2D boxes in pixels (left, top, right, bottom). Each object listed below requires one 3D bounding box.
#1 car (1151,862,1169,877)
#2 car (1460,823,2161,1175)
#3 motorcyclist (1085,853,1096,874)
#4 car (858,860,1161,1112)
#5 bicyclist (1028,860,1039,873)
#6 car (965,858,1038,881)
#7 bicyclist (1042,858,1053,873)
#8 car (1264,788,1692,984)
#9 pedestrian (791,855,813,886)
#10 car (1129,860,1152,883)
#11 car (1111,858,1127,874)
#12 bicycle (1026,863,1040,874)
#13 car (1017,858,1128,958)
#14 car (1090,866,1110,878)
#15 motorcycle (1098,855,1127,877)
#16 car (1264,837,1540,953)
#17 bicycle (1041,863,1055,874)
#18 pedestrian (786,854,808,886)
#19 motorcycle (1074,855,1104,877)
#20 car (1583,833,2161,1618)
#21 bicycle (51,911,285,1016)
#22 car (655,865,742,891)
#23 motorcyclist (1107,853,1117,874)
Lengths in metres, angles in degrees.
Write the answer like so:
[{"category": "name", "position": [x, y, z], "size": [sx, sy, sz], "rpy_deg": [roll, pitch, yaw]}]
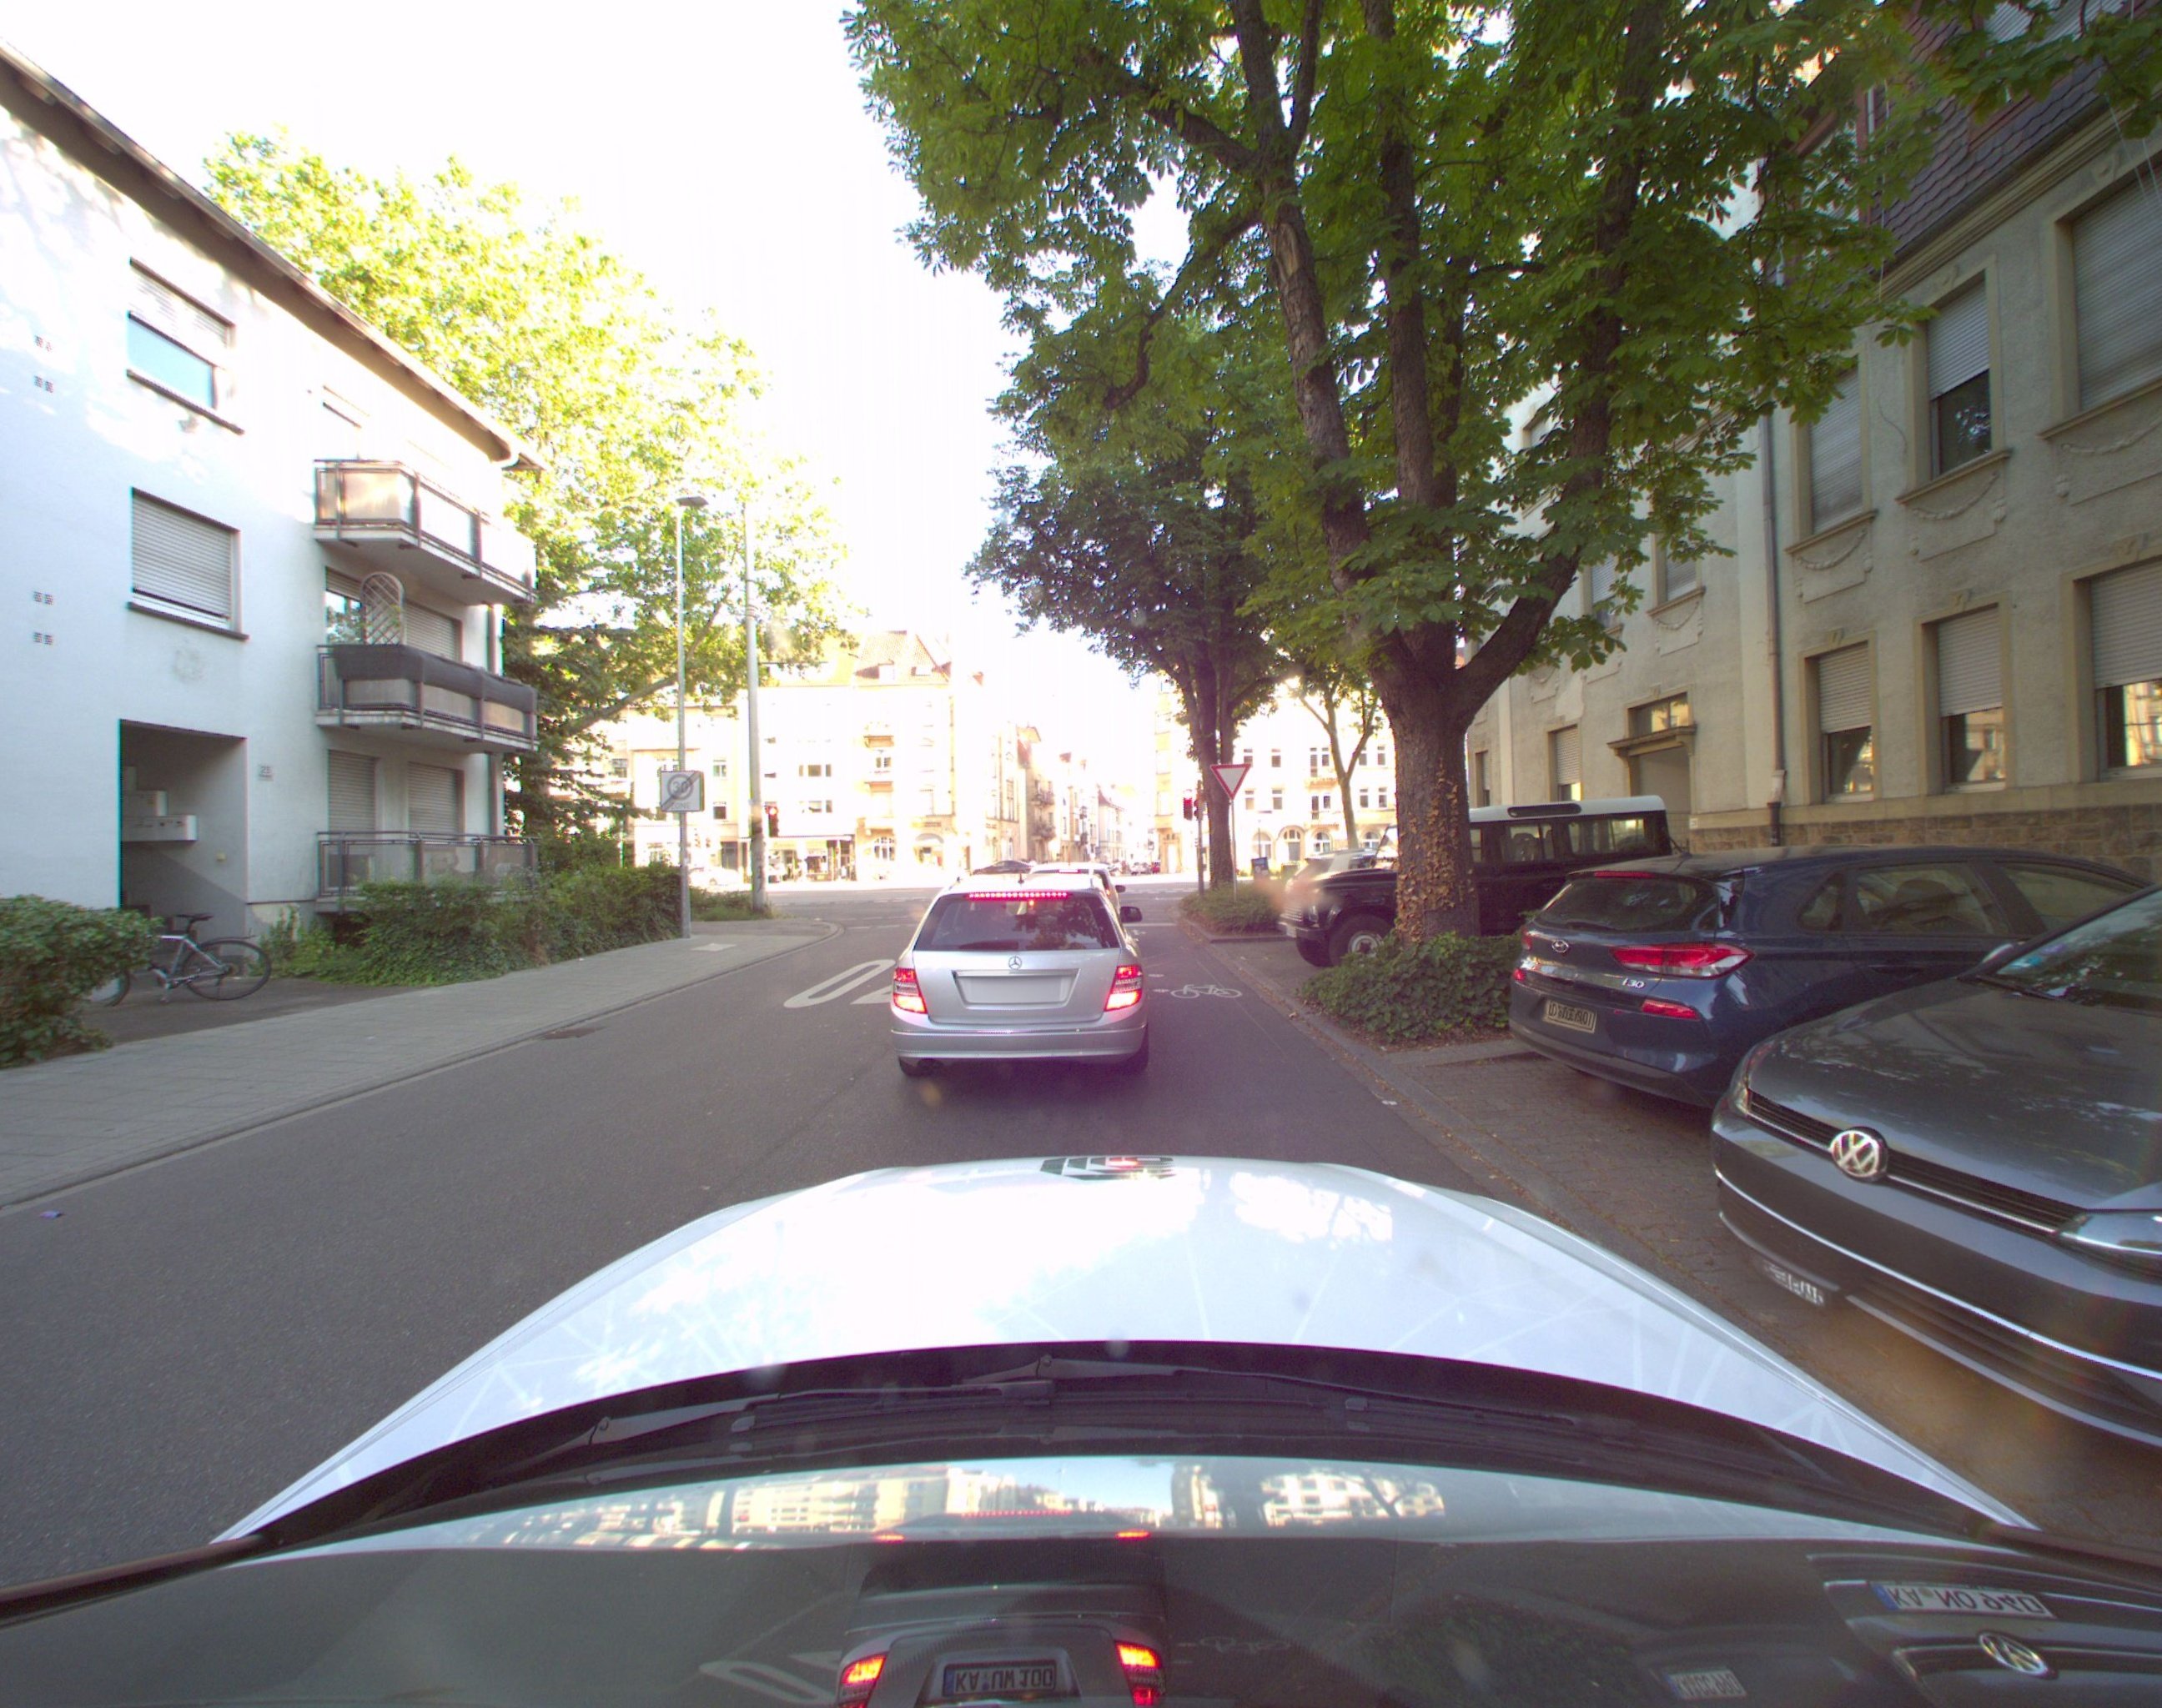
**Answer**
[{"category": "car", "position": [9.868, 1.913, 101.862], "size": [1.824, 1.744, 4.012], "rpy_deg": [-1, 0, 10]}, {"category": "car", "position": [4.389, 0.630, 4.559], "size": [3.714, 1.452, 1.707], "rpy_deg": [-3, -1, -2]}, {"category": "motorcyclist", "position": [0.641, 0.667, 56.423], "size": [0.679, 1.452, 0.568], "rpy_deg": [-2, 0, -2]}, {"category": "car", "position": [-0.411, 0.793, 7.087], "size": [1.771, 1.452, 4.547], "rpy_deg": [-1, 0, 0]}, {"category": "bicyclist", "position": [-4.315, 1.118, 73.729], "size": [0.765, 1.156, 0.755], "rpy_deg": [-1, 0, 13]}, {"category": "car", "position": [-5.496, 1.039, 56.834], "size": [4.871, 1.452, 1.857], "rpy_deg": [-1, 0, -2]}, {"category": "bicyclist", "position": [-3.015, 1.029, 73.709], "size": [0.765, 1.290, 0.755], "rpy_deg": [-1, 0, 13]}, {"category": "car", "position": [4.733, 0.364, 10.133], "size": [4.453, 2.036, 1.700], "rpy_deg": [-3, -1, -2]}, {"category": "pedestrian", "position": [-22.406, 1.289, 65.437], "size": [1.343, 2.464, 1.059], "rpy_deg": [-1, 0, -3]}, {"category": "car", "position": [6.297, 1.820, 85.905], "size": [2.018, 2.279, 4.012], "rpy_deg": [-1, 0, 10]}, {"category": "car", "position": [5.472, 1.726, 117.403], "size": [1.776, 2.204, 4.012], "rpy_deg": [-1, 0, 10]}, {"category": "bicycle", "position": [-4.332, 1.340, 73.650], "size": [0.765, 0.940, 1.947], "rpy_deg": [-1, 0, 13]}, {"category": "car", "position": [-0.116, 0.811, 14.175], "size": [1.614, 1.447, 4.344], "rpy_deg": [-1, 0, 0]}, {"category": "car", "position": [2.387, 2.260, 102.638], "size": [1.824, 1.402, 4.012], "rpy_deg": [-1, 0, 10]}, {"category": "motorcycle", "position": [2.234, 0.848, 58.002], "size": [2.028, 1.452, 0.568], "rpy_deg": [-2, 0, -3]}, {"category": "car", "position": [5.022, 0.615, 13.093], "size": [3.714, 1.570, 1.707], "rpy_deg": [-3, -1, -2]}, {"category": "bicycle", "position": [-3.010, 1.323, 73.706], "size": [0.765, 0.934, 1.947], "rpy_deg": [-1, 0, 13]}, {"category": "pedestrian", "position": [-22.376, 1.269, 64.277], "size": [1.343, 2.464, 1.059], "rpy_deg": [-1, 0, -3]}, {"category": "motorcycle", "position": [0.557, 0.829, 56.418], "size": [2.028, 1.452, 0.568], "rpy_deg": [-2, 0, -3]}, {"category": "car", "position": [4.024, 0.647, 2.388], "size": [4.042, 1.452, 1.722], "rpy_deg": [-3, -1, -2]}, {"category": "bicycle", "position": [-10.003, 1.160, 9.011], "size": [1.630, 1.008, 0.511], "rpy_deg": [2, -2, -39]}, {"category": "car", "position": [-24.791, 1.536, 52.847], "size": [4.694, 1.460, 1.834], "rpy_deg": [-2, 0, -4]}, {"category": "motorcyclist", "position": [2.198, 0.699, 58.002], "size": [0.679, 1.452, 0.568], "rpy_deg": [-2, 0, -2]}]
